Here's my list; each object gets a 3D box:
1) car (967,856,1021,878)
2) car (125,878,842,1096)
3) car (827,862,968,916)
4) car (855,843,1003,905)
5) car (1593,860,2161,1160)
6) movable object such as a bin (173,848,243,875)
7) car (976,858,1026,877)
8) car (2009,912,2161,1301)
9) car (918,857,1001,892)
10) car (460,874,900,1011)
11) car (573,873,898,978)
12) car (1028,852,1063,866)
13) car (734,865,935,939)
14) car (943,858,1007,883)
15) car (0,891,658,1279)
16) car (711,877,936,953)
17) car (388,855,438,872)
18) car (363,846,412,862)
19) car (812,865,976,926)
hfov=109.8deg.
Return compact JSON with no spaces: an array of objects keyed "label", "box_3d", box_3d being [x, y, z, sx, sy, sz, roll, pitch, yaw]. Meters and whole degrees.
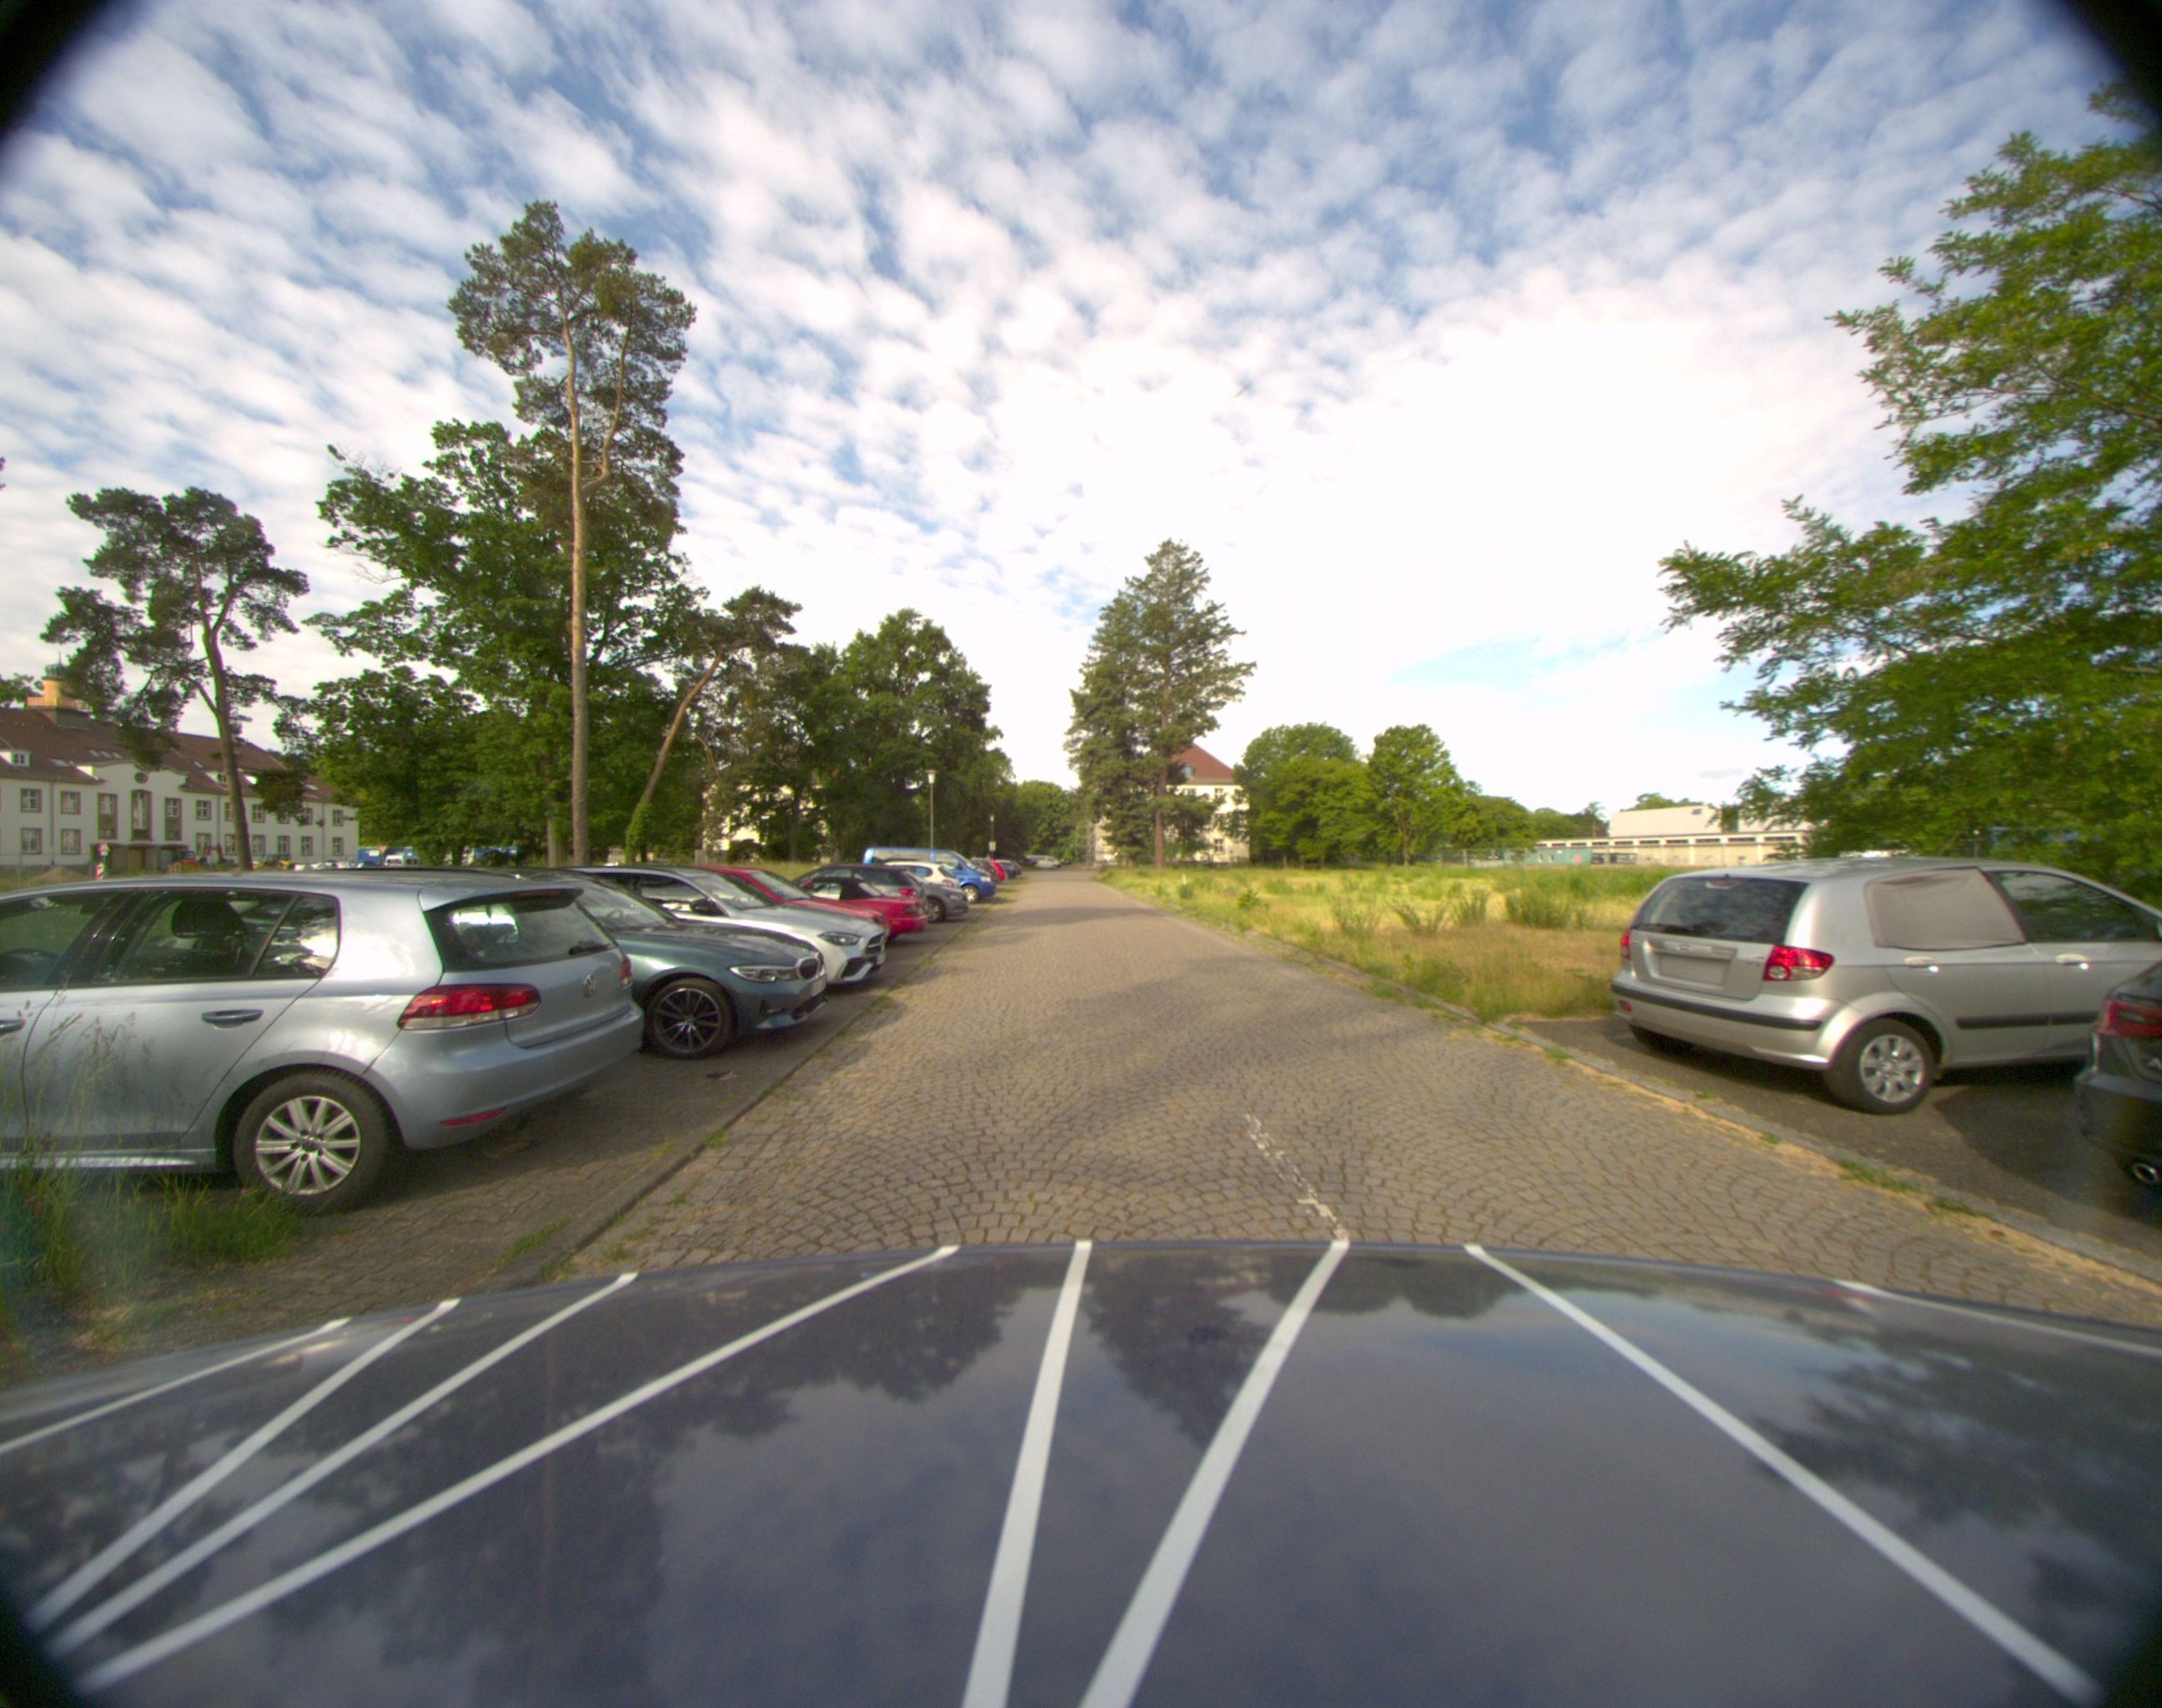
[{"label":"car","box_3d":[-6.522,0.981,57.094,3.837,1.609,1.581,0,0,2]},{"label":"car","box_3d":[-4.568,0.972,6.470,4.526,1.474,1.807,0,0,-5]},{"label":"car","box_3d":[-5.308,1.003,22.323,3.762,1.490,1.581,0,0,-1]},{"label":"car","box_3d":[-5.439,0.710,27.672,4.955,2.011,2.060,2,0,-1]},{"label":"car","box_3d":[5.801,0.871,5.162,3.587,1.467,1.646,-3,1,-5]},{"label":"movable object such as a bin","box_3d":[-93.769,0.759,81.706,2.000,2.752,5.200,0,0,-7]},{"label":"car","box_3d":[-6.504,1.050,61.834,3.837,1.520,1.674,0,0,2]},{"label":"car","box_3d":[5.986,0.899,2.539,3.846,1.400,1.695,-3,0,-3]},{"label":"car","box_3d":[-5.762,0.958,36.309,3.839,1.592,1.580,0,0,-6]},{"label":"car","box_3d":[-4.553,1.003,9.180,4.338,1.420,1.766,1,0,-4]},{"label":"car","box_3d":[-5.029,1.019,11.500,4.118,1.415,1.719,0,0,-2]},{"label":"car","box_3d":[-5.214,0.782,110.664,5.131,2.002,1.804,0,0,-4]},{"label":"car","box_3d":[-5.214,0.997,16.447,3.838,1.494,1.604,0,0,-3]},{"label":"car","box_3d":[-6.452,1.010,46.694,3.839,1.516,1.580,0,0,-6]},{"label":"car","box_3d":[-4.547,0.971,3.842,3.854,1.462,1.641,0,0,-5]},{"label":"car","box_3d":[-4.572,1.079,13.867,3.556,1.279,1.608,0,-1,-1]},{"label":"car","box_3d":[-71.335,0.986,81.255,1.847,1.674,3.937,1,0,1]},{"label":"car","box_3d":[-85.272,-0.001,93.524,2.218,2.002,4.001,0,0,3]},{"label":"car","box_3d":[-4.667,1.025,19.347,3.782,1.457,1.642,0,0,-1]}]
